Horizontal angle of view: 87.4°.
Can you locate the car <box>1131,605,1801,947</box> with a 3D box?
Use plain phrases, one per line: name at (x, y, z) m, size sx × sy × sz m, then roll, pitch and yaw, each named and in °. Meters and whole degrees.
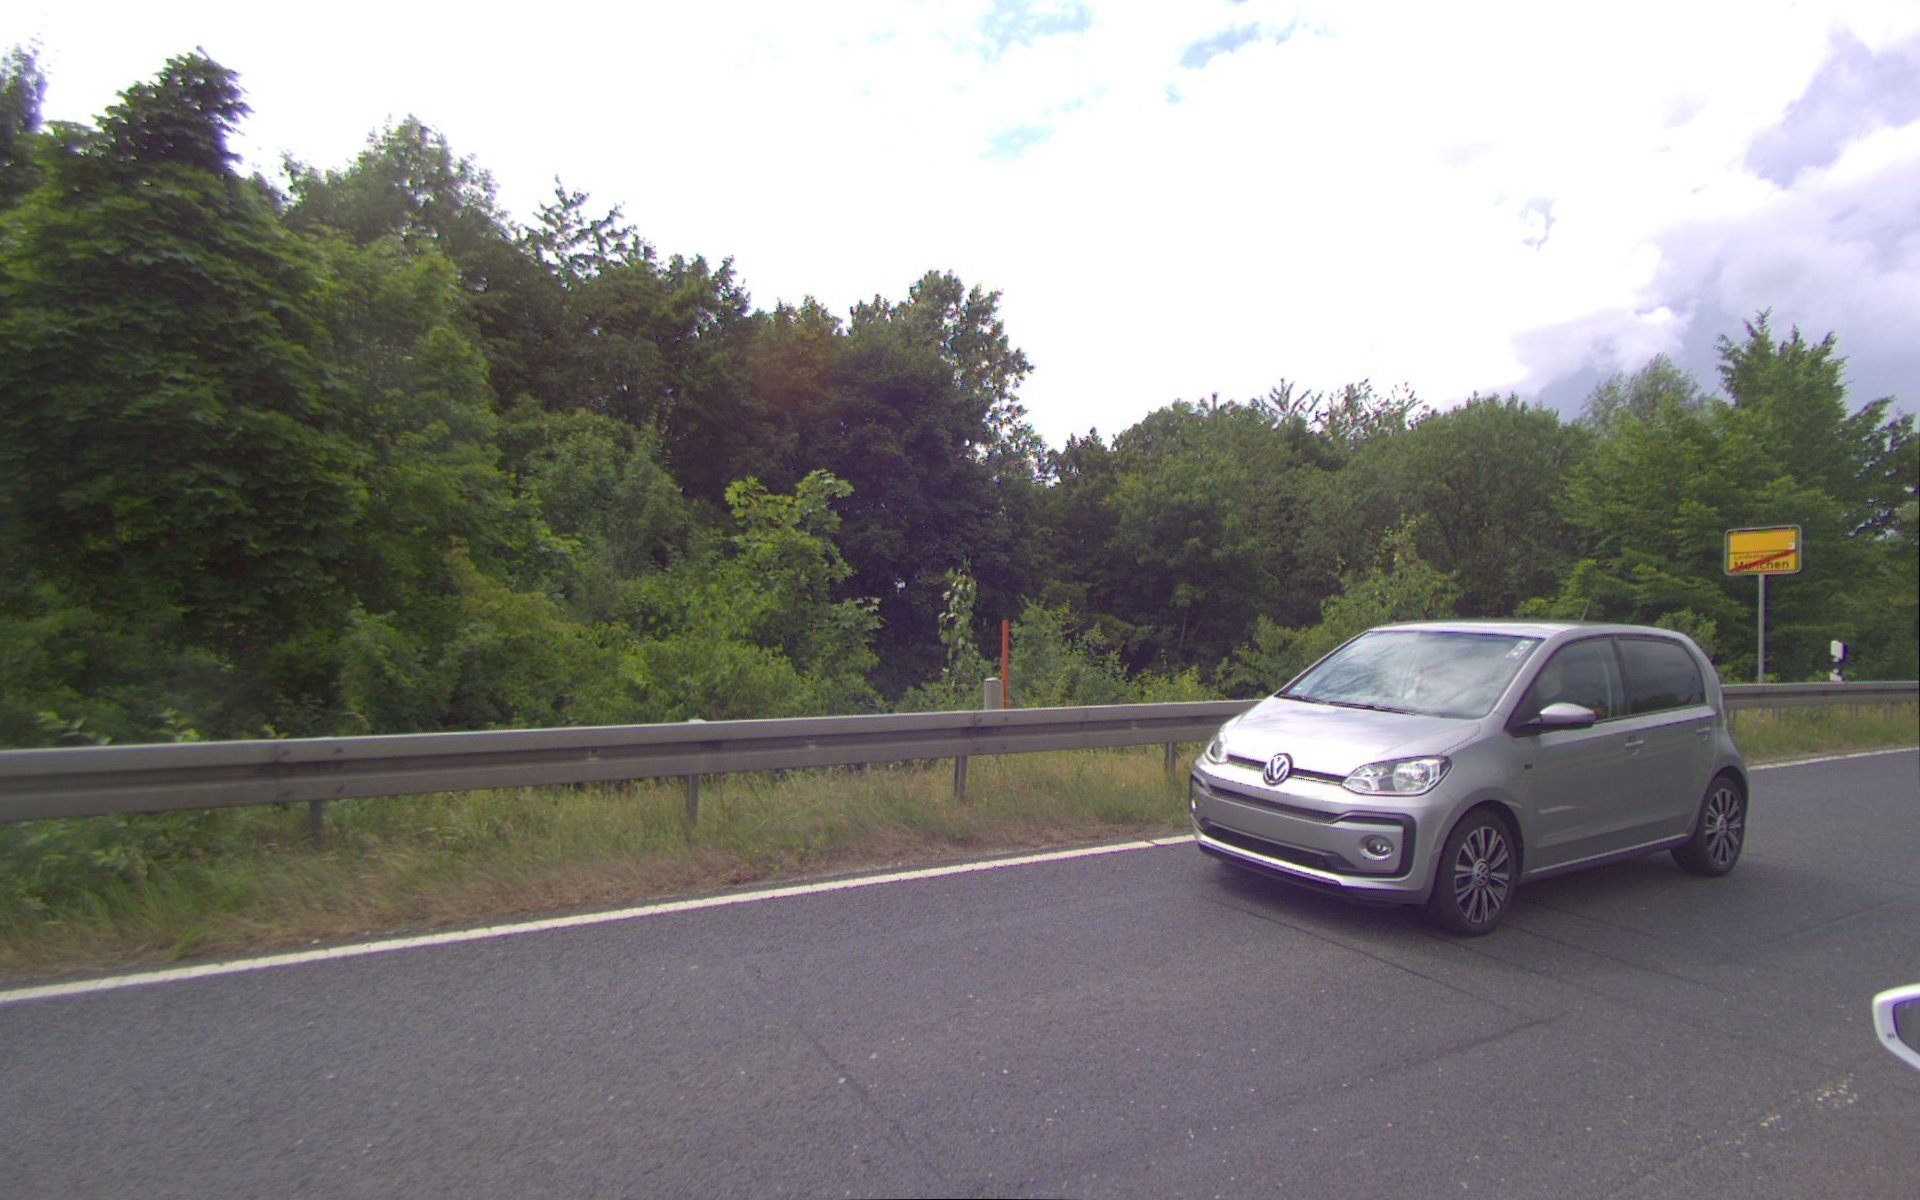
car at (3.162, 0.819, 6.119) m, size 3.954 × 1.464 × 1.826 m, roll 2°, pitch -1°, yaw -31°
